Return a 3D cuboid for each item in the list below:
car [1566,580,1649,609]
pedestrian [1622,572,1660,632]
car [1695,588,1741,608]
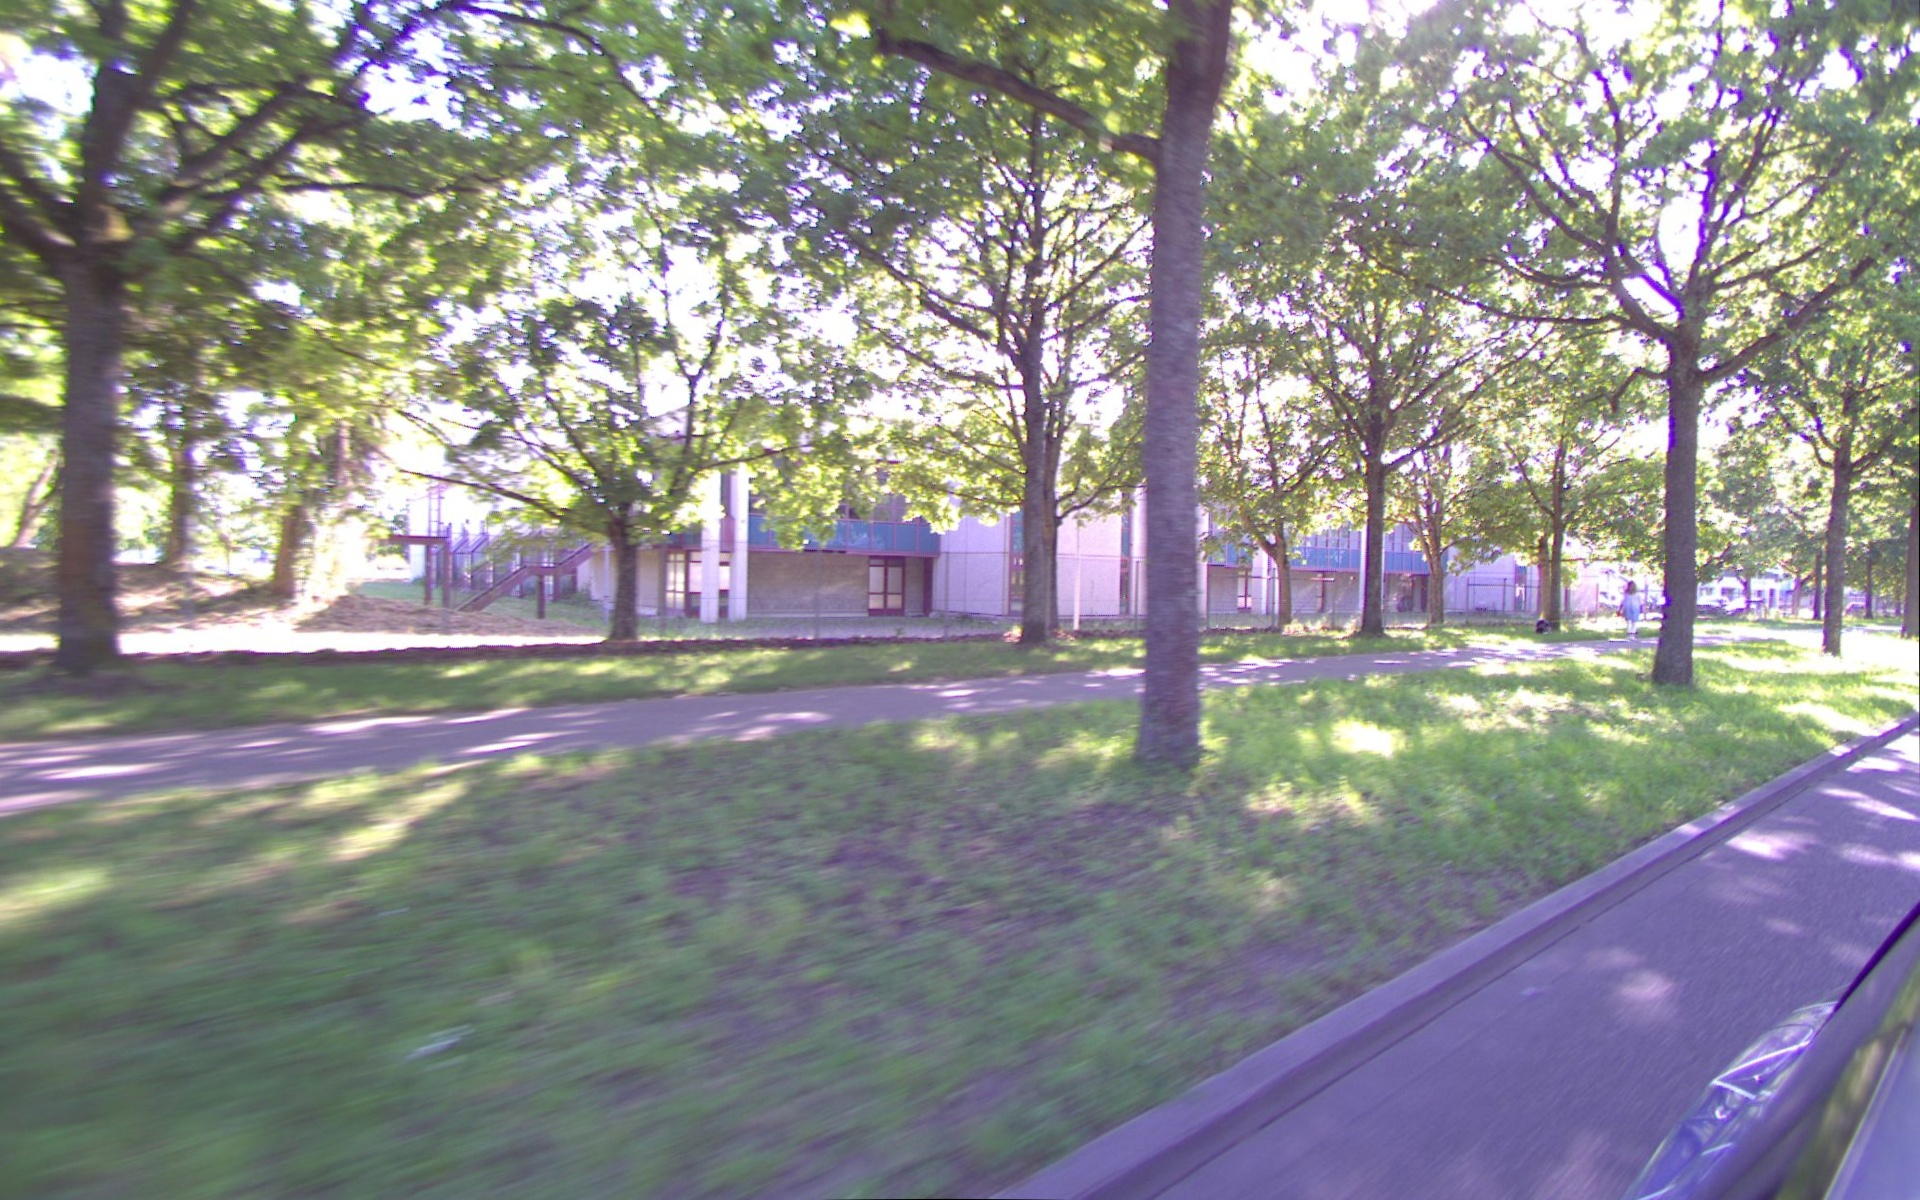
[{"bbox_3d":[50.020,-0.448,78.299,1.862,1.983,5.073,0,3,-41],"label":"car"},{"bbox_3d":[19.190,0.053,28.508,0.706,1.650,0.610,1,3,-38],"label":"pedestrian"},{"bbox_3d":[62.454,-0.187,83.386,4.375,1.578,1.999,0,2,-39],"label":"car"}]
